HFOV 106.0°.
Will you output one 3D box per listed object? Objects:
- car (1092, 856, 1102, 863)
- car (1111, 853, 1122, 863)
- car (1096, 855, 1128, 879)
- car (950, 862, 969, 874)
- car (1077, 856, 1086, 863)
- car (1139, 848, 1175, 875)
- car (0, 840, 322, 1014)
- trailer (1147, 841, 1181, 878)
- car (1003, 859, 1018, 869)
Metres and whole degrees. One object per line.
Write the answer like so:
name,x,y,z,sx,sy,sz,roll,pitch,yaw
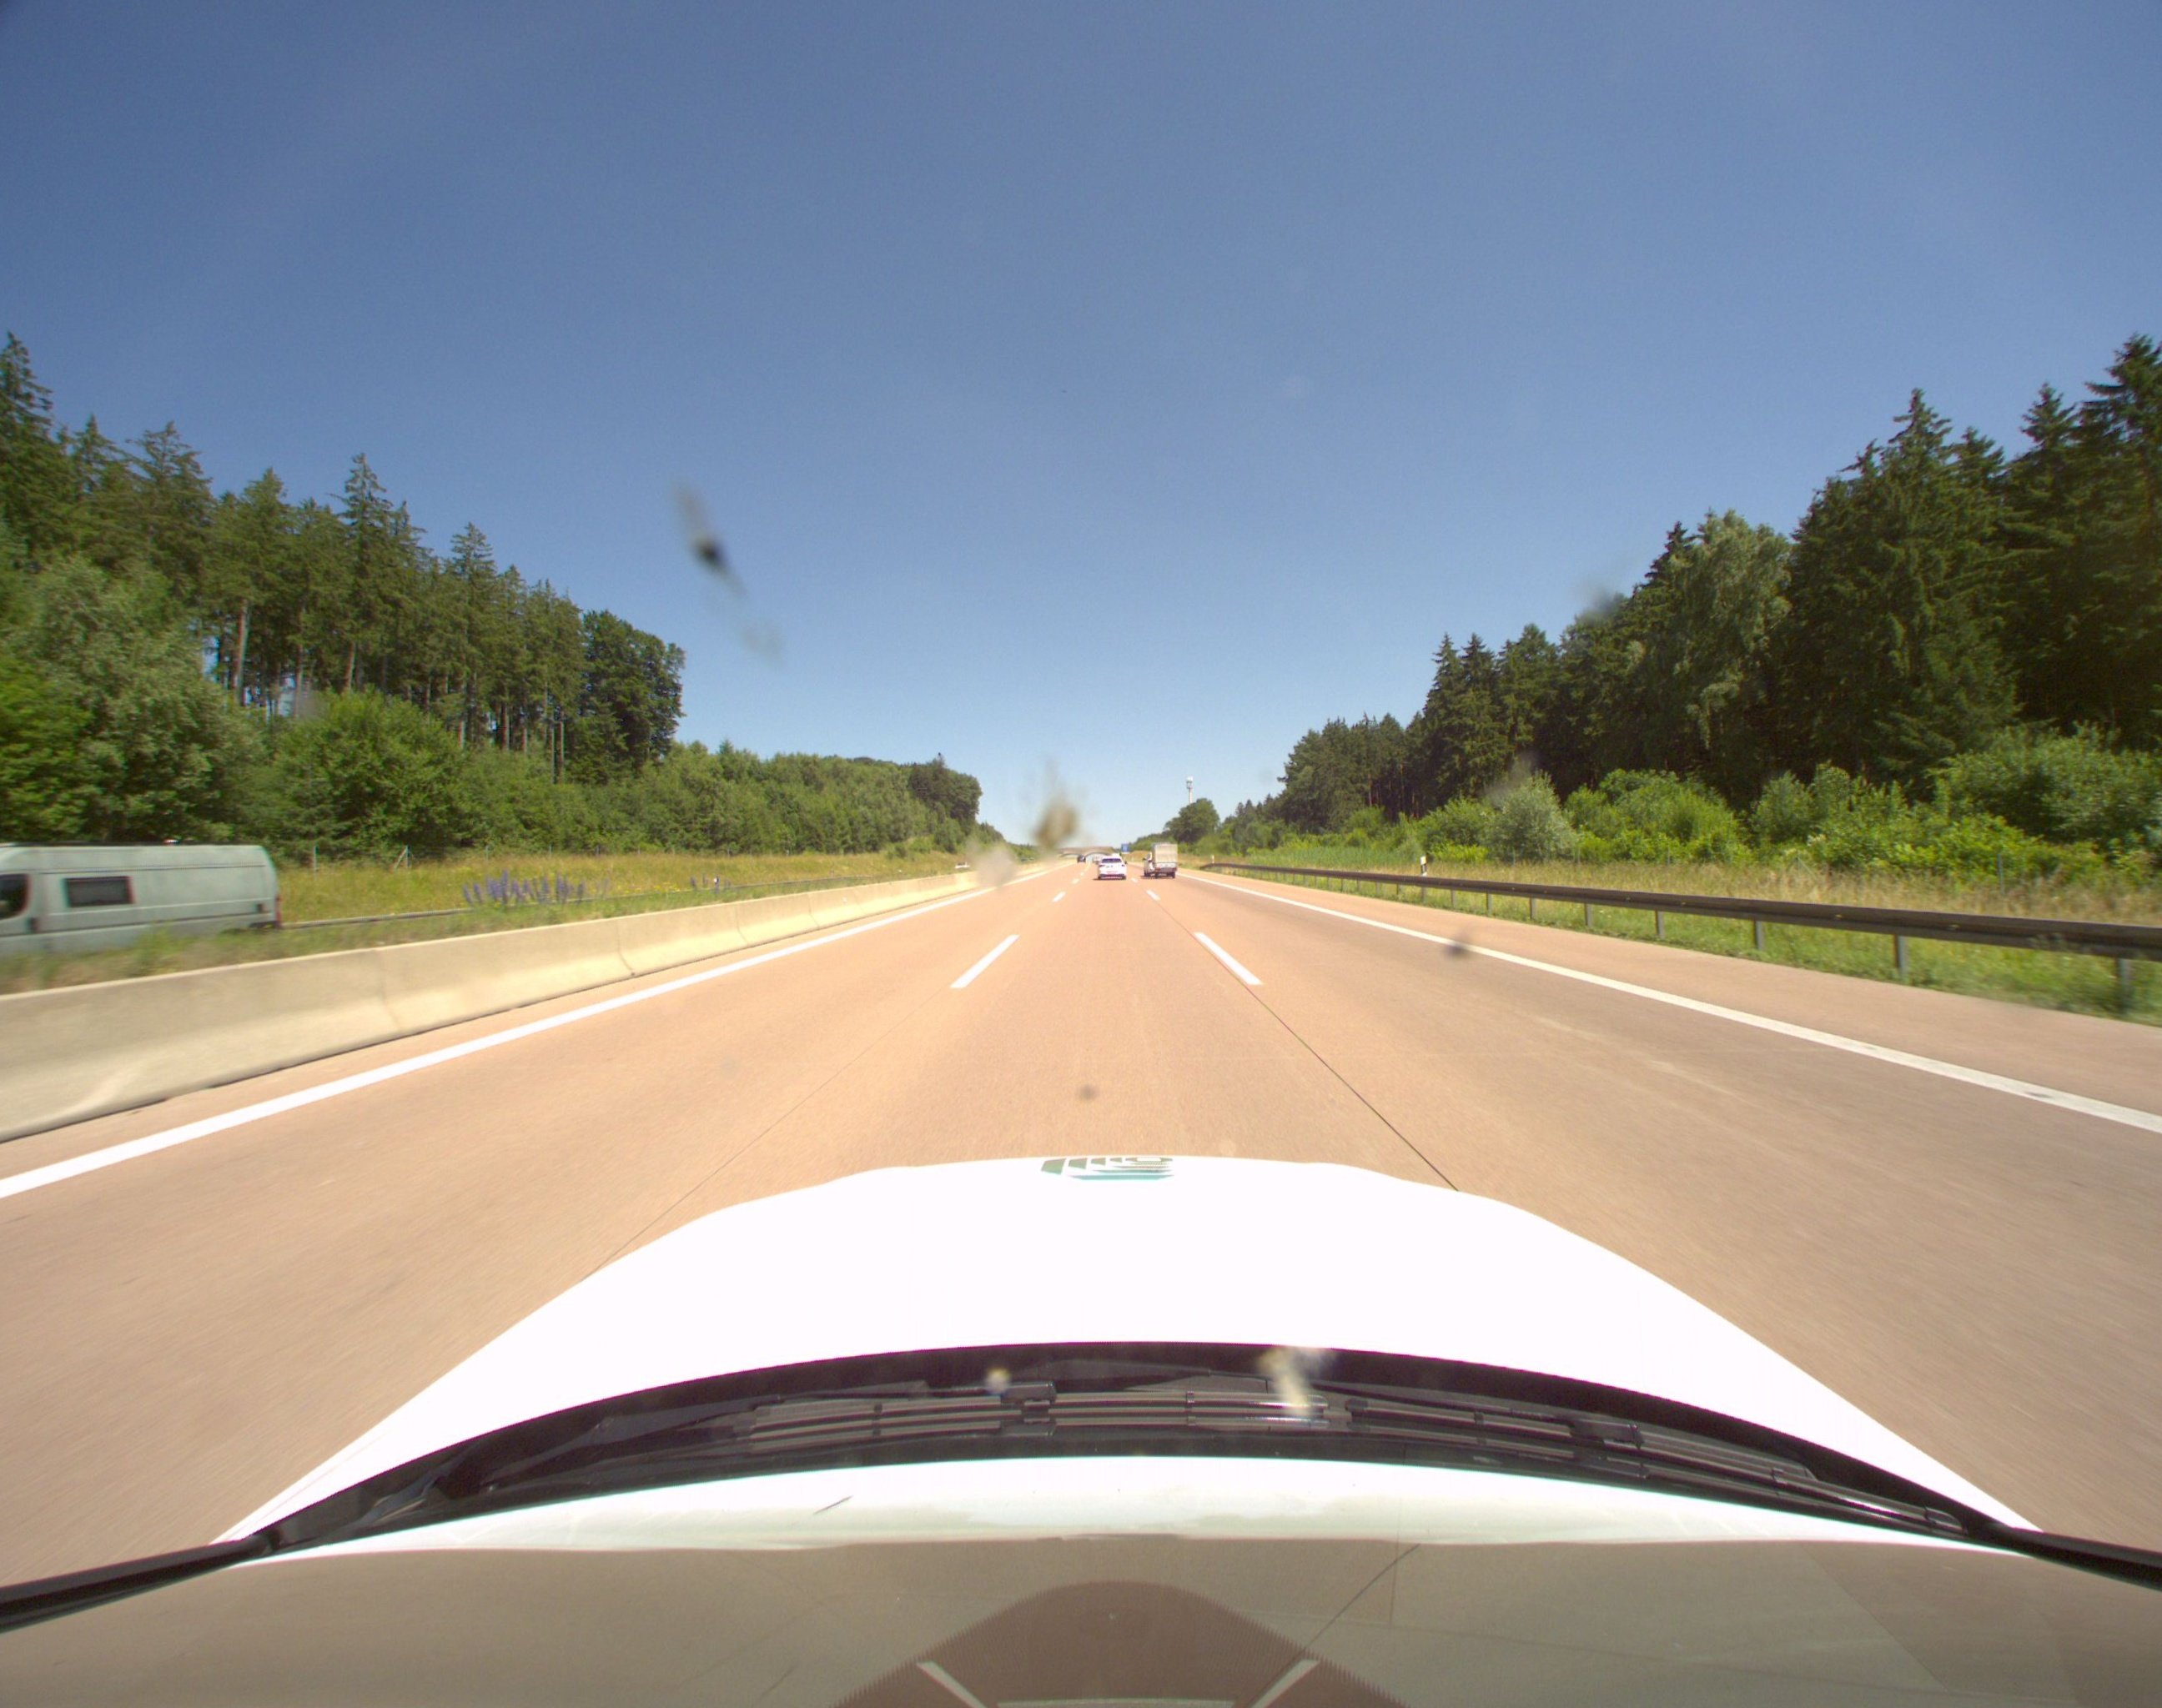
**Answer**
car,3.368,1.150,170.800,1.884,1.463,4.001,-1,0,1
car,7.531,0.745,172.931,2.102,2.054,4.003,-1,0,3
car,1.866,0.778,50.609,1.884,1.398,4.000,0,0,1
car,-16.728,1.891,112.305,1.884,1.594,4.465,-1,0,1
car,0.113,1.168,178.382,1.883,1.463,4.003,-1,0,3
car,5.148,0.523,55.551,1.885,1.728,5.184,-1,0,-1
car,-17.835,1.145,14.422,2.225,2.686,6.888,-1,0,1
trailer,5.172,0.357,51.004,1.652,2.164,4.015,-1,-1,0
car,-11.595,1.657,134.028,1.884,1.594,4.465,-1,0,1
